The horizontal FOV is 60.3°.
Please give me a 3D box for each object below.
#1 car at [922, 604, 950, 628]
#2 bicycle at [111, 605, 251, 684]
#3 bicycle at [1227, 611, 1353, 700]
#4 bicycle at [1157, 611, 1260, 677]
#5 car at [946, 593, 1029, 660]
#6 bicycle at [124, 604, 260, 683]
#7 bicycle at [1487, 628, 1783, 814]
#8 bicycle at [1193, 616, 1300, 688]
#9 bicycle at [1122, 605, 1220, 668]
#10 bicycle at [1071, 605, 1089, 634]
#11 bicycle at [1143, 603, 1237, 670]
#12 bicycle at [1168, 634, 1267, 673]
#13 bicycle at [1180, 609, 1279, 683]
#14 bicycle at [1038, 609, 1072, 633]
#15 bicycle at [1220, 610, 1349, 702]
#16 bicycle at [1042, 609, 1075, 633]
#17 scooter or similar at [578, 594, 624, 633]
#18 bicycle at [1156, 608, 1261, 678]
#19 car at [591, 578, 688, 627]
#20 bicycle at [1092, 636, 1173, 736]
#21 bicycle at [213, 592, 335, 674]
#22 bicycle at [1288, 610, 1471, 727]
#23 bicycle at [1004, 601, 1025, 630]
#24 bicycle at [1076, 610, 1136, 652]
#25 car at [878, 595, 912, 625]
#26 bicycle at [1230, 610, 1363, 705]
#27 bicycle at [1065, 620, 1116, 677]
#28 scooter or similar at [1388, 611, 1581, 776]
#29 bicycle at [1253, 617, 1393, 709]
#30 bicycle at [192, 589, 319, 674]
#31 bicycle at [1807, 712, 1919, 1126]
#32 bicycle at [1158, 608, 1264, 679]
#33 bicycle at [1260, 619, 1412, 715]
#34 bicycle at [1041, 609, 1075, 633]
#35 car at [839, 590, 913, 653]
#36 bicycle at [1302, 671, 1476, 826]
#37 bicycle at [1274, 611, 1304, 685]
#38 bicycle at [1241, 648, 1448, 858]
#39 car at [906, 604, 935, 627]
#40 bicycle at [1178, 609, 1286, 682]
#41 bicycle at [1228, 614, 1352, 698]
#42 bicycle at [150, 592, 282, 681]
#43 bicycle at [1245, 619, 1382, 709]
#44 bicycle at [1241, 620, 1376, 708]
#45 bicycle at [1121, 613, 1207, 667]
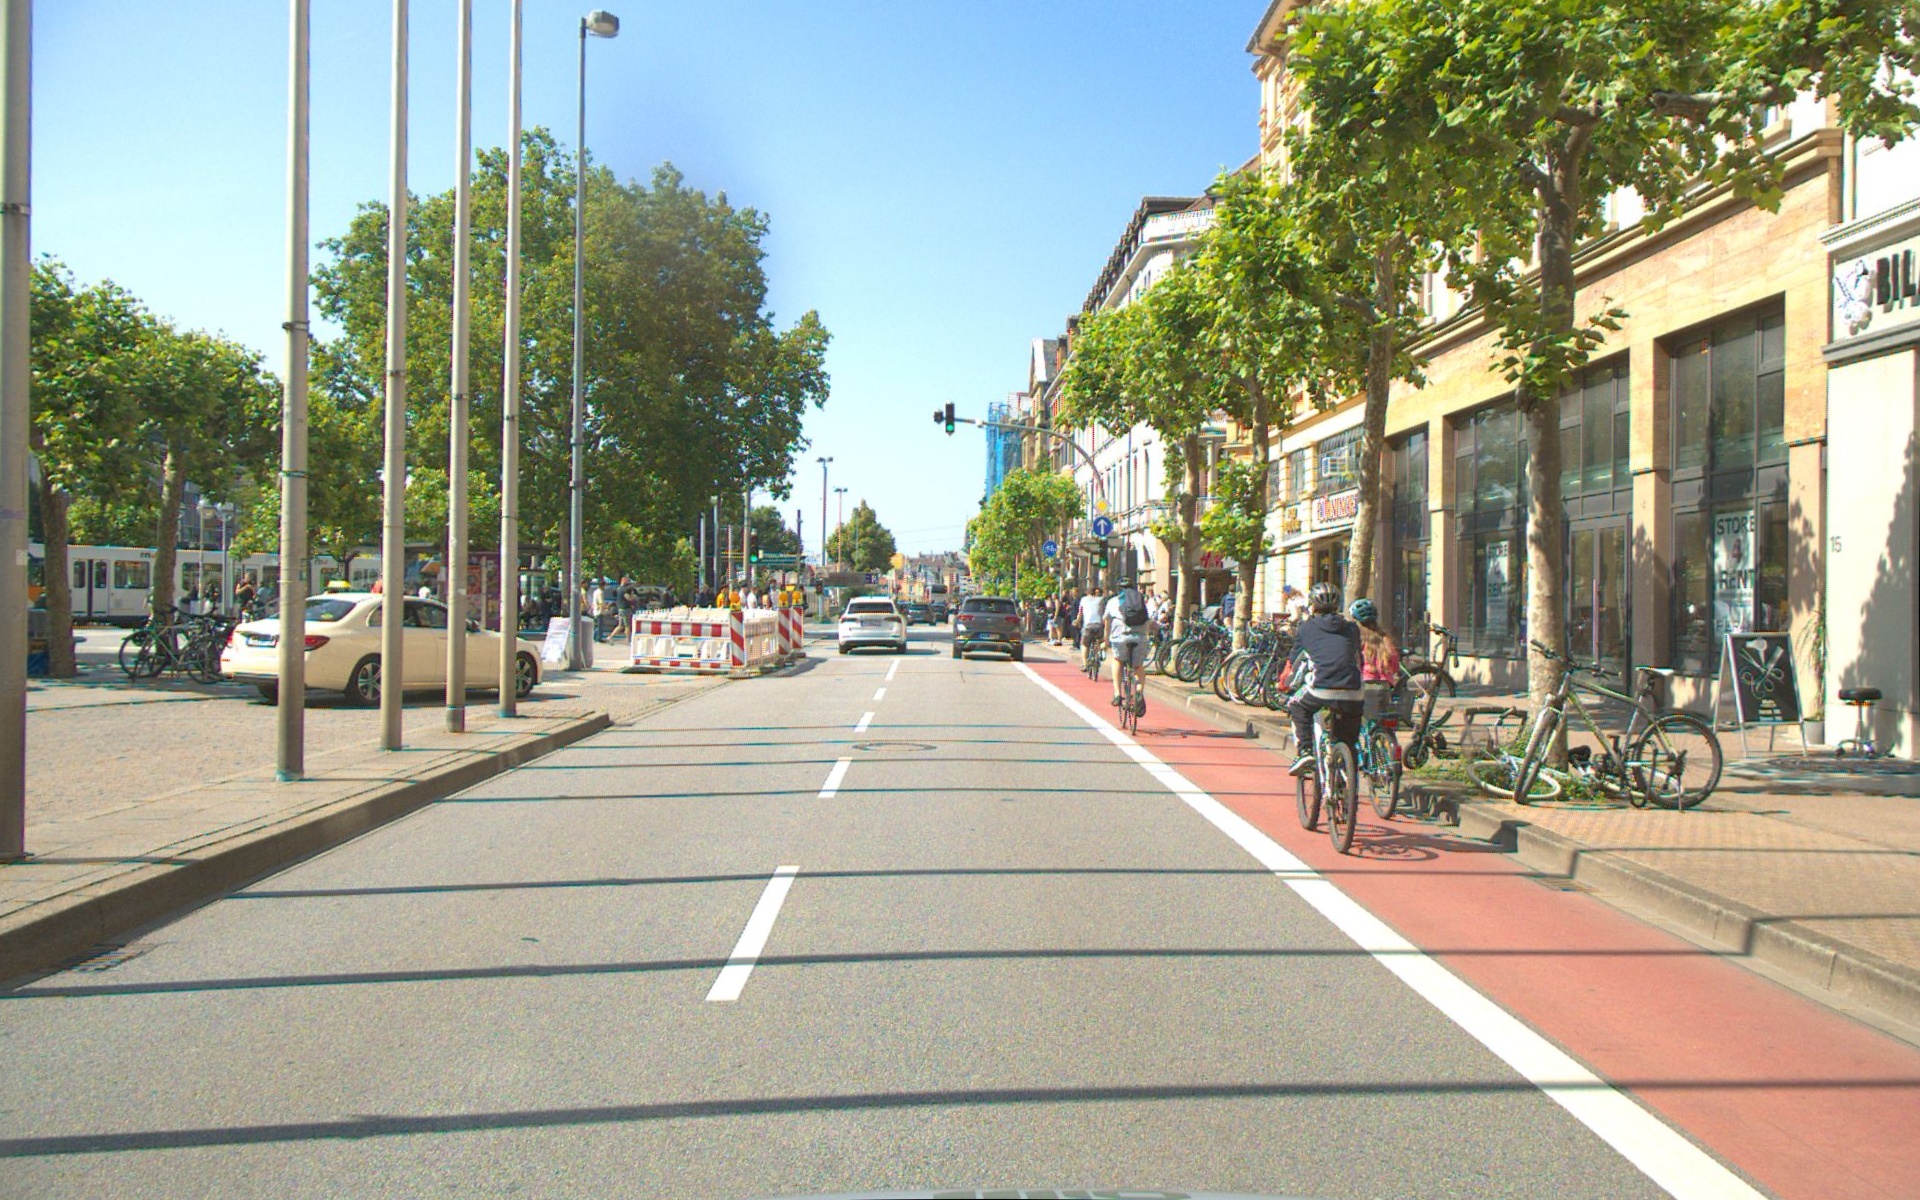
[{"bbox_3d":[-1.864,1.236,127.585,1.809,1.697,3.996,2,0,-5],"label":"car"},{"bbox_3d":[-11.429,0.650,24.304,1.746,1.124,0.562,1,0,-4],"label":"bicycle"},{"bbox_3d":[4.704,0.785,23.628,1.692,1.238,0.477,1,0,1],"label":"bicycle"},{"bbox_3d":[4.608,0.808,30.712,1.806,1.184,0.659,1,0,1],"label":"bicycle"},{"bbox_3d":[0.642,0.625,41.611,1.809,1.586,3.997,0,0,-3],"label":"car"},{"bbox_3d":[-11.592,0.648,24.989,1.746,1.152,0.562,1,0,-4],"label":"bicycle"},{"bbox_3d":[4.774,0.841,11.786,1.801,1.206,0.670,2,0,4],"label":"bicycle"},{"bbox_3d":[4.639,0.835,26.835,1.615,1.114,0.607,1,0,1],"label":"bicycle"},{"bbox_3d":[4.398,0.752,34.491,1.904,1.279,0.701,1,0,-21],"label":"bicycle"},{"bbox_3d":[4.962,0.802,68.476,0.391,1.133,1.425,0,1,19],"label":"bicycle"},{"bbox_3d":[4.711,0.750,33.900,1.795,1.332,0.684,1,0,-22],"label":"bicycle"},{"bbox_3d":[4.985,1.035,32.003,1.818,0.728,0.655,1,0,-22],"label":"bicycle"},{"bbox_3d":[4.607,0.778,28.357,1.615,1.222,0.474,1,0,1],"label":"bicycle"},{"bbox_3d":[3.966,0.880,69.044,1.391,0.997,0.445,-1,1,-1],"label":"bicycle"},{"bbox_3d":[4.531,0.778,23.133,1.692,1.238,0.477,1,0,1],"label":"bicycle"},{"bbox_3d":[4.223,0.883,70.894,1.391,0.997,0.401,-1,1,-1],"label":"bicycle"},{"bbox_3d":[-13.273,0.494,61.156,1.252,1.445,1.037,0,-1,29],"label":"scooter or similar"},{"bbox_3d":[4.504,0.782,30.080,1.806,1.222,0.608,1,0,1],"label":"bicycle"},{"bbox_3d":[-13.472,0.132,69.786,1.820,1.989,4.762,0,-1,20],"label":"car"},{"bbox_3d":[1.939,0.950,18.815,0.617,0.997,2.088,1,1,-2],"label":"bicycle"},{"bbox_3d":[-11.515,0.541,27.783,1.746,1.331,0.662,1,0,-4],"label":"bicycle"},{"bbox_3d":[4.769,0.767,18.885,1.891,1.270,0.736,1,0,1],"label":"bicycle"},{"bbox_3d":[1.983,0.553,60.107,0.634,1.015,2.030,1,0,-1],"label":"bicycle"},{"bbox_3d":[4.002,0.849,45.319,0.595,1.101,1.816,-2,1,-35],"label":"bicycle"},{"bbox_3d":[-3.531,0.517,90.000,1.808,1.587,3.998,1,0,-2],"label":"car"},{"bbox_3d":[4.552,0.768,22.408,1.692,1.238,0.477,1,0,1],"label":"bicycle"},{"bbox_3d":[2.514,0.920,32.062,0.758,1.023,2.329,0,0,-1],"label":"bicycle"},{"bbox_3d":[4.401,0.768,13.964,1.443,1.297,0.670,2,0,10],"label":"scooter or similar"},{"bbox_3d":[4.645,0.801,21.216,1.692,1.128,0.402,1,0,1],"label":"bicycle"},{"bbox_3d":[-11.430,0.508,26.853,1.746,1.331,0.662,1,0,-4],"label":"bicycle"},{"bbox_3d":[3.141,0.945,4.278,0.684,1.146,2.079,2,0,-4],"label":"bicycle"},{"bbox_3d":[4.477,0.775,29.573,1.806,1.222,0.545,1,0,1],"label":"bicycle"},{"bbox_3d":[4.610,0.811,20.363,1.692,1.128,0.736,1,0,1],"label":"bicycle"},{"bbox_3d":[4.107,0.880,69.508,1.391,0.997,0.445,-1,1,-1],"label":"bicycle"},{"bbox_3d":[-2.201,0.539,44.093,1.808,1.587,3.999,0,0,-1],"label":"car"},{"bbox_3d":[3.096,1.043,12.150,0.588,0.942,2.086,2,-1,-4],"label":"bicycle"},{"bbox_3d":[5.592,0.800,28.183,0.462,1.208,1.656,1,0,11],"label":"bicycle"},{"bbox_3d":[2.431,0.929,10.732,0.684,1.146,2.079,2,0,-4],"label":"bicycle"},{"bbox_3d":[-2.583,0.965,107.657,1.808,1.438,3.998,1,0,-2],"label":"car"},{"bbox_3d":[4.725,0.781,28.773,1.806,1.222,0.474,1,0,1],"label":"bicycle"},{"bbox_3d":[4.803,0.815,24.115,1.692,1.182,0.477,1,0,1],"label":"bicycle"},{"bbox_3d":[-11.491,0.557,25.562,1.746,1.331,0.562,1,0,-4],"label":"bicycle"},{"bbox_3d":[4.613,0.830,21.629,1.692,1.128,0.402,1,0,1],"label":"bicycle"},{"bbox_3d":[4.639,0.846,22.049,1.692,1.128,0.477,1,0,1],"label":"bicycle"},{"bbox_3d":[4.358,0.844,35.370,1.746,1.142,0.562,0,0,-4],"label":"bicycle"}]
